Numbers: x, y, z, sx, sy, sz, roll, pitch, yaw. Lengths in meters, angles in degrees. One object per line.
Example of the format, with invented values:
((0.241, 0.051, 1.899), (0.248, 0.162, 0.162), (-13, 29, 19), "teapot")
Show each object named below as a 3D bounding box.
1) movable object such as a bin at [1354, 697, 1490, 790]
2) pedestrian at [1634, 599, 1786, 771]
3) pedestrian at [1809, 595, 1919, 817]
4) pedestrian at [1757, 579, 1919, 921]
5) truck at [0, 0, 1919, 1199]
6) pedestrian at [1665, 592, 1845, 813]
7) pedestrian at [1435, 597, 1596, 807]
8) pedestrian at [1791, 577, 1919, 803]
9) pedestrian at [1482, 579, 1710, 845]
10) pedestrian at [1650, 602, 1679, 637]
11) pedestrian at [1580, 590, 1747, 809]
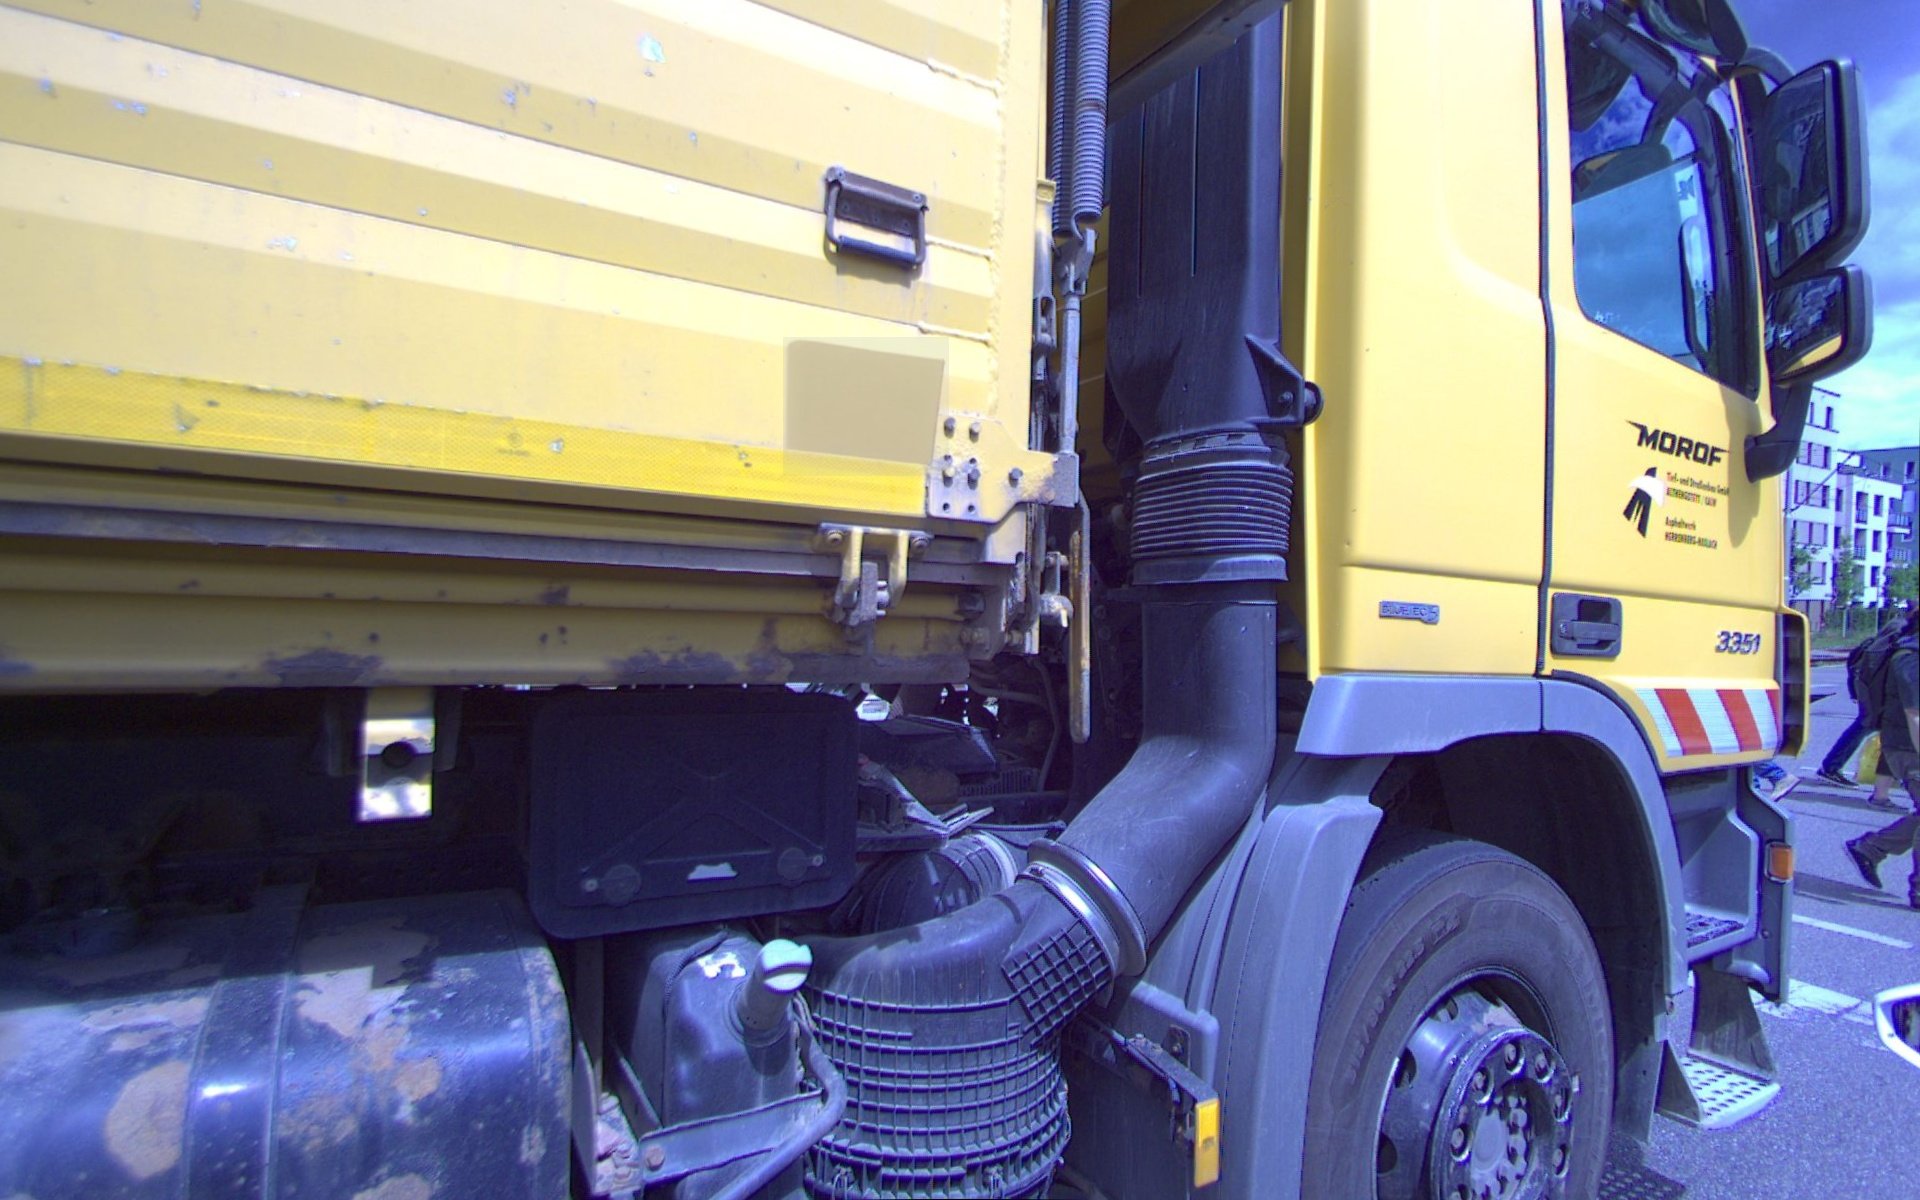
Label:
((4.061, 1.237, 8.852), (0.768, 0.671, 0.792), (1, 0, -29), "movable object such as a bin")
((7.513, 0.807, 10.082), (0.895, 1.618, 0.890), (1, 0, -24), "pedestrian")
((7.372, 0.783, 7.774), (0.917, 1.628, 0.910), (1, 0, -25), "pedestrian")
((4.983, 0.739, 5.291), (0.869, 1.670, 0.954), (1, 0, -29), "pedestrian")
((-1.703, -0.231, 1.609), (7.916, 3.439, 3.033), (1, 0, -32), "truck")
((6.362, 0.769, 8.066), (0.754, 1.656, 0.866), (1, 0, -23), "pedestrian")
((4.478, 0.772, 8.124), (0.737, 1.575, 0.877), (1, 0, -29), "pedestrian")
((7.877, 0.721, 8.521), (0.918, 1.796, 0.998), (1, 0, -29), "pedestrian")
((4.403, 0.709, 6.994), (0.918, 1.670, 1.016), (1, 0, -29), "pedestrian")
((30.569, 0.840, 43.608), (0.628, 1.536, 0.827), (1, 0, -30), "pedestrian")
((5.665, 0.756, 8.117), (0.723, 1.662, 0.821), (1, 0, -22), "pedestrian")
